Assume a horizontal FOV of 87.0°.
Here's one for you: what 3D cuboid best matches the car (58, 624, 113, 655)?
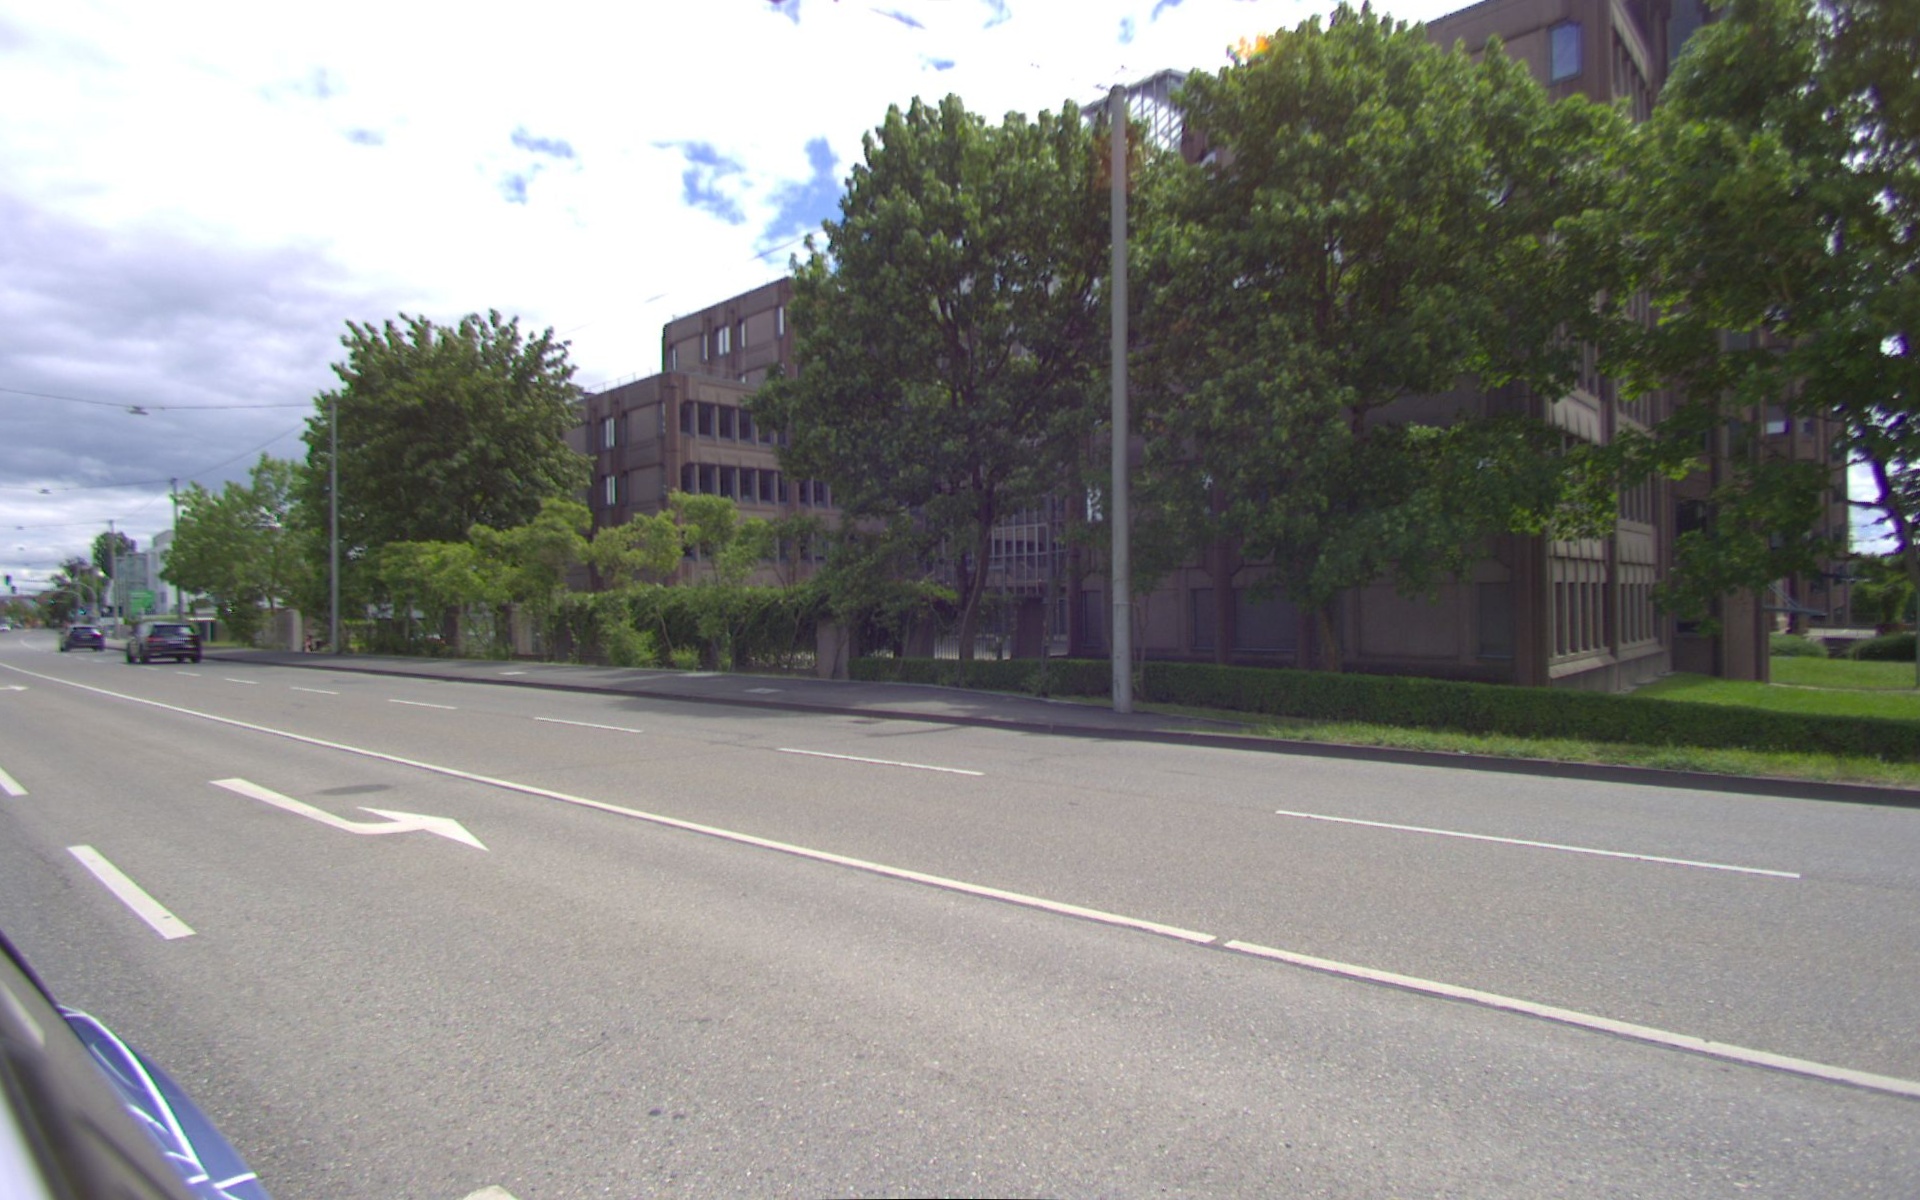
[{"bbox_3d":[-49.282,2.207,56.991,4.311,1.597,1.777,-1,0,41],"label":"car"}]

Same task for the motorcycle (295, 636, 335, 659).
[{"bbox_3d":[-38.767,2.837,60.849,0.745,1.254,1.880,-1,-1,41],"label":"motorcycle"}]

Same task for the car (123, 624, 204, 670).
[{"bbox_3d":[-31.562,1.805,40.076,4.571,1.627,1.847,-1,0,43],"label":"car"}]
